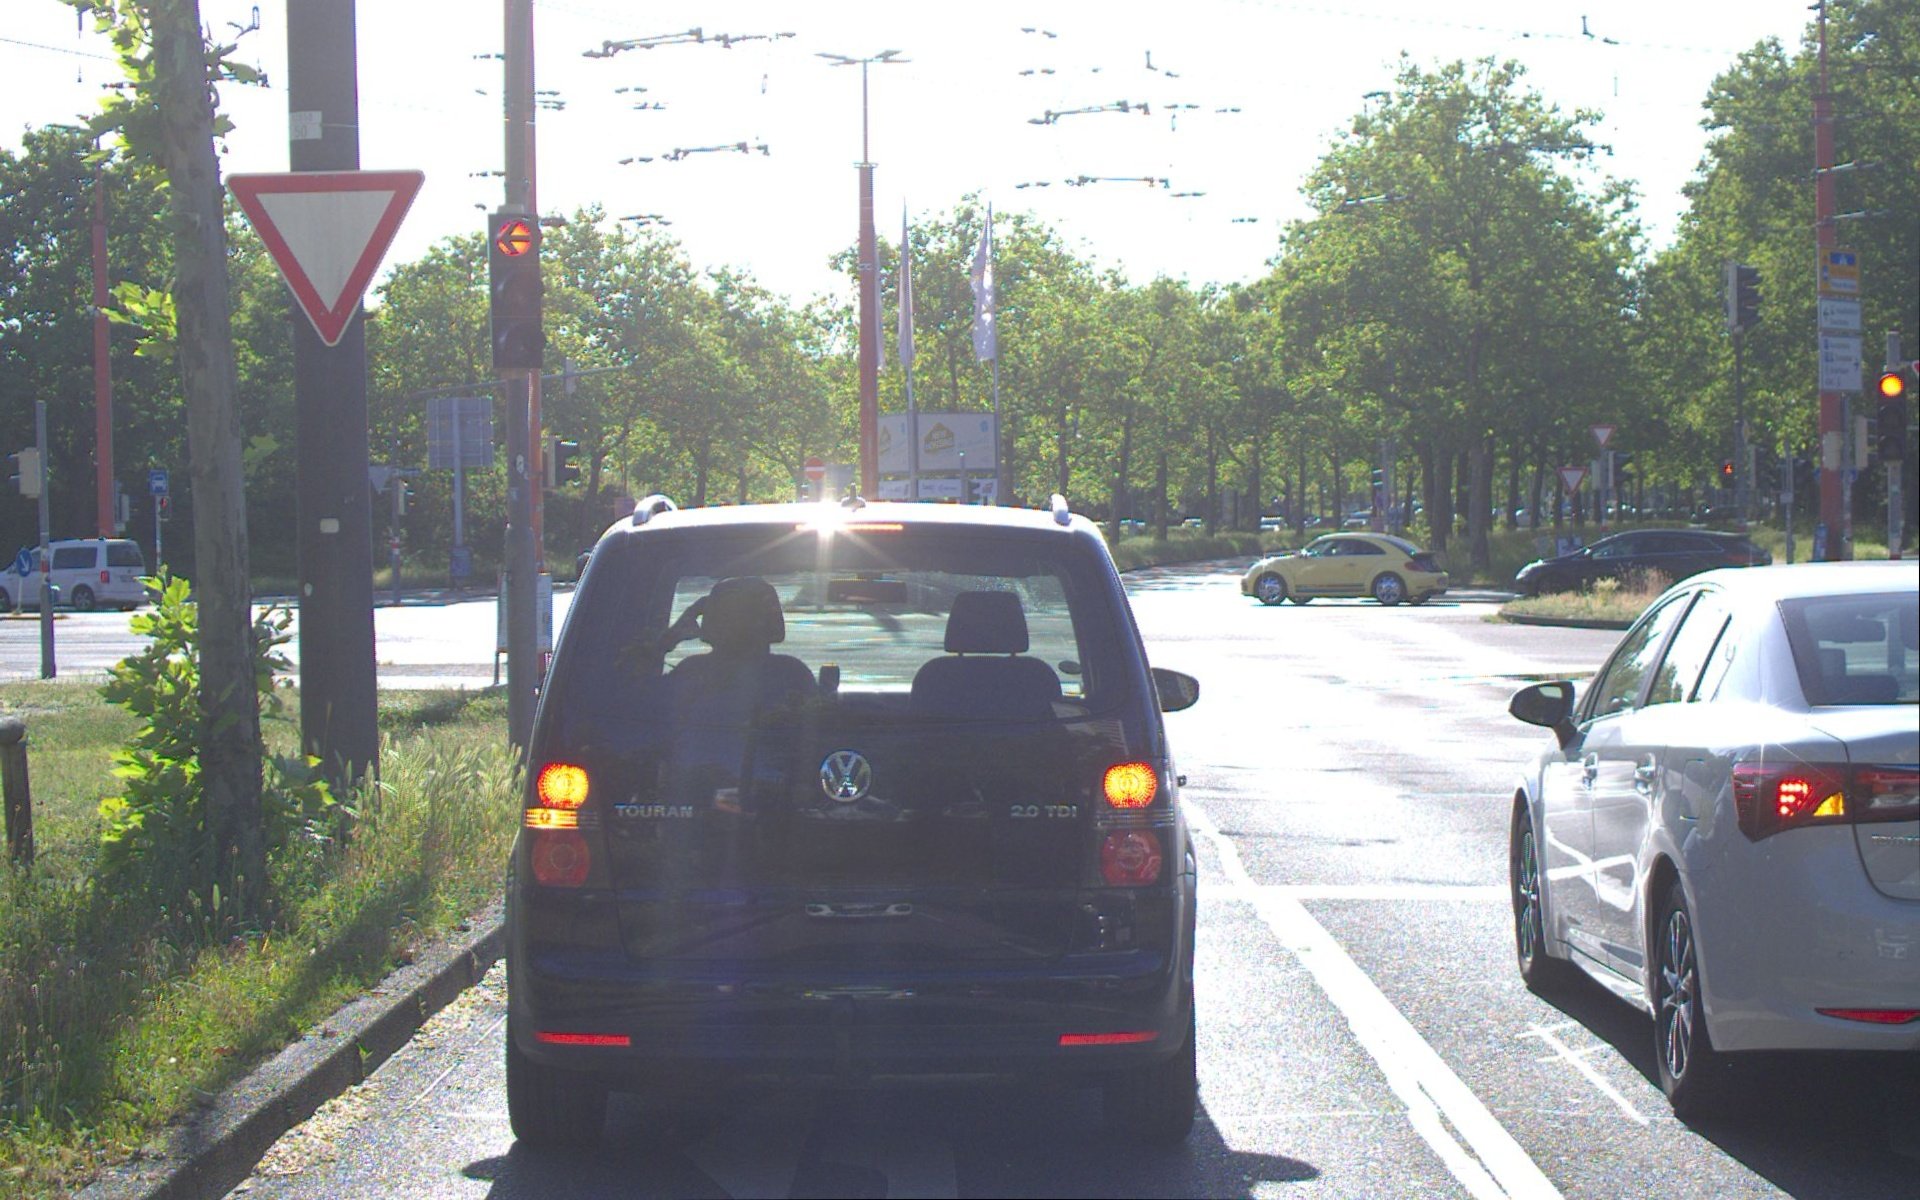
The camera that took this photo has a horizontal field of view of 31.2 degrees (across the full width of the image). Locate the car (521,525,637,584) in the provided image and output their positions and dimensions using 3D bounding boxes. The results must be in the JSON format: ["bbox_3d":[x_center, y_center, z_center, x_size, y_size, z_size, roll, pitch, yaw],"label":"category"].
[{"bbox_3d":[-11.352,-1.377,102.722,1.653,1.744,4.127,1,1,23],"label":"car"}]

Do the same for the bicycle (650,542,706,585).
[{"bbox_3d":[-9.155,-1.186,111.582,0.977,1.384,2.978,0,1,12],"label":"bicycle"}]

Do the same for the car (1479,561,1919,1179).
[{"bbox_3d":[2.752,0.618,10.162,1.799,1.435,4.326,1,1,1],"label":"car"}]

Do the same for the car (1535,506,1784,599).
[{"bbox_3d":[12.931,-0.891,63.604,4.210,1.675,1.654,1,1,28],"label":"car"}]

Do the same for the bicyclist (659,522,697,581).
[{"bbox_3d":[-9.149,-1.576,111.616,0.977,1.897,1.050,0,1,12],"label":"bicyclist"}]

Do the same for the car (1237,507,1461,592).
[{"bbox_3d":[7.919,-1.040,70.046,4.209,1.675,1.654,1,1,26],"label":"car"}]

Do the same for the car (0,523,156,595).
[{"bbox_3d":[-22.089,-1.023,84.985,4.124,1.744,1.655,1,1,23],"label":"car"}]

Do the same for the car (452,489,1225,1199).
[{"bbox_3d":[-0.258,0.537,9.984,1.738,1.597,4.326,1,1,1],"label":"car"}]
